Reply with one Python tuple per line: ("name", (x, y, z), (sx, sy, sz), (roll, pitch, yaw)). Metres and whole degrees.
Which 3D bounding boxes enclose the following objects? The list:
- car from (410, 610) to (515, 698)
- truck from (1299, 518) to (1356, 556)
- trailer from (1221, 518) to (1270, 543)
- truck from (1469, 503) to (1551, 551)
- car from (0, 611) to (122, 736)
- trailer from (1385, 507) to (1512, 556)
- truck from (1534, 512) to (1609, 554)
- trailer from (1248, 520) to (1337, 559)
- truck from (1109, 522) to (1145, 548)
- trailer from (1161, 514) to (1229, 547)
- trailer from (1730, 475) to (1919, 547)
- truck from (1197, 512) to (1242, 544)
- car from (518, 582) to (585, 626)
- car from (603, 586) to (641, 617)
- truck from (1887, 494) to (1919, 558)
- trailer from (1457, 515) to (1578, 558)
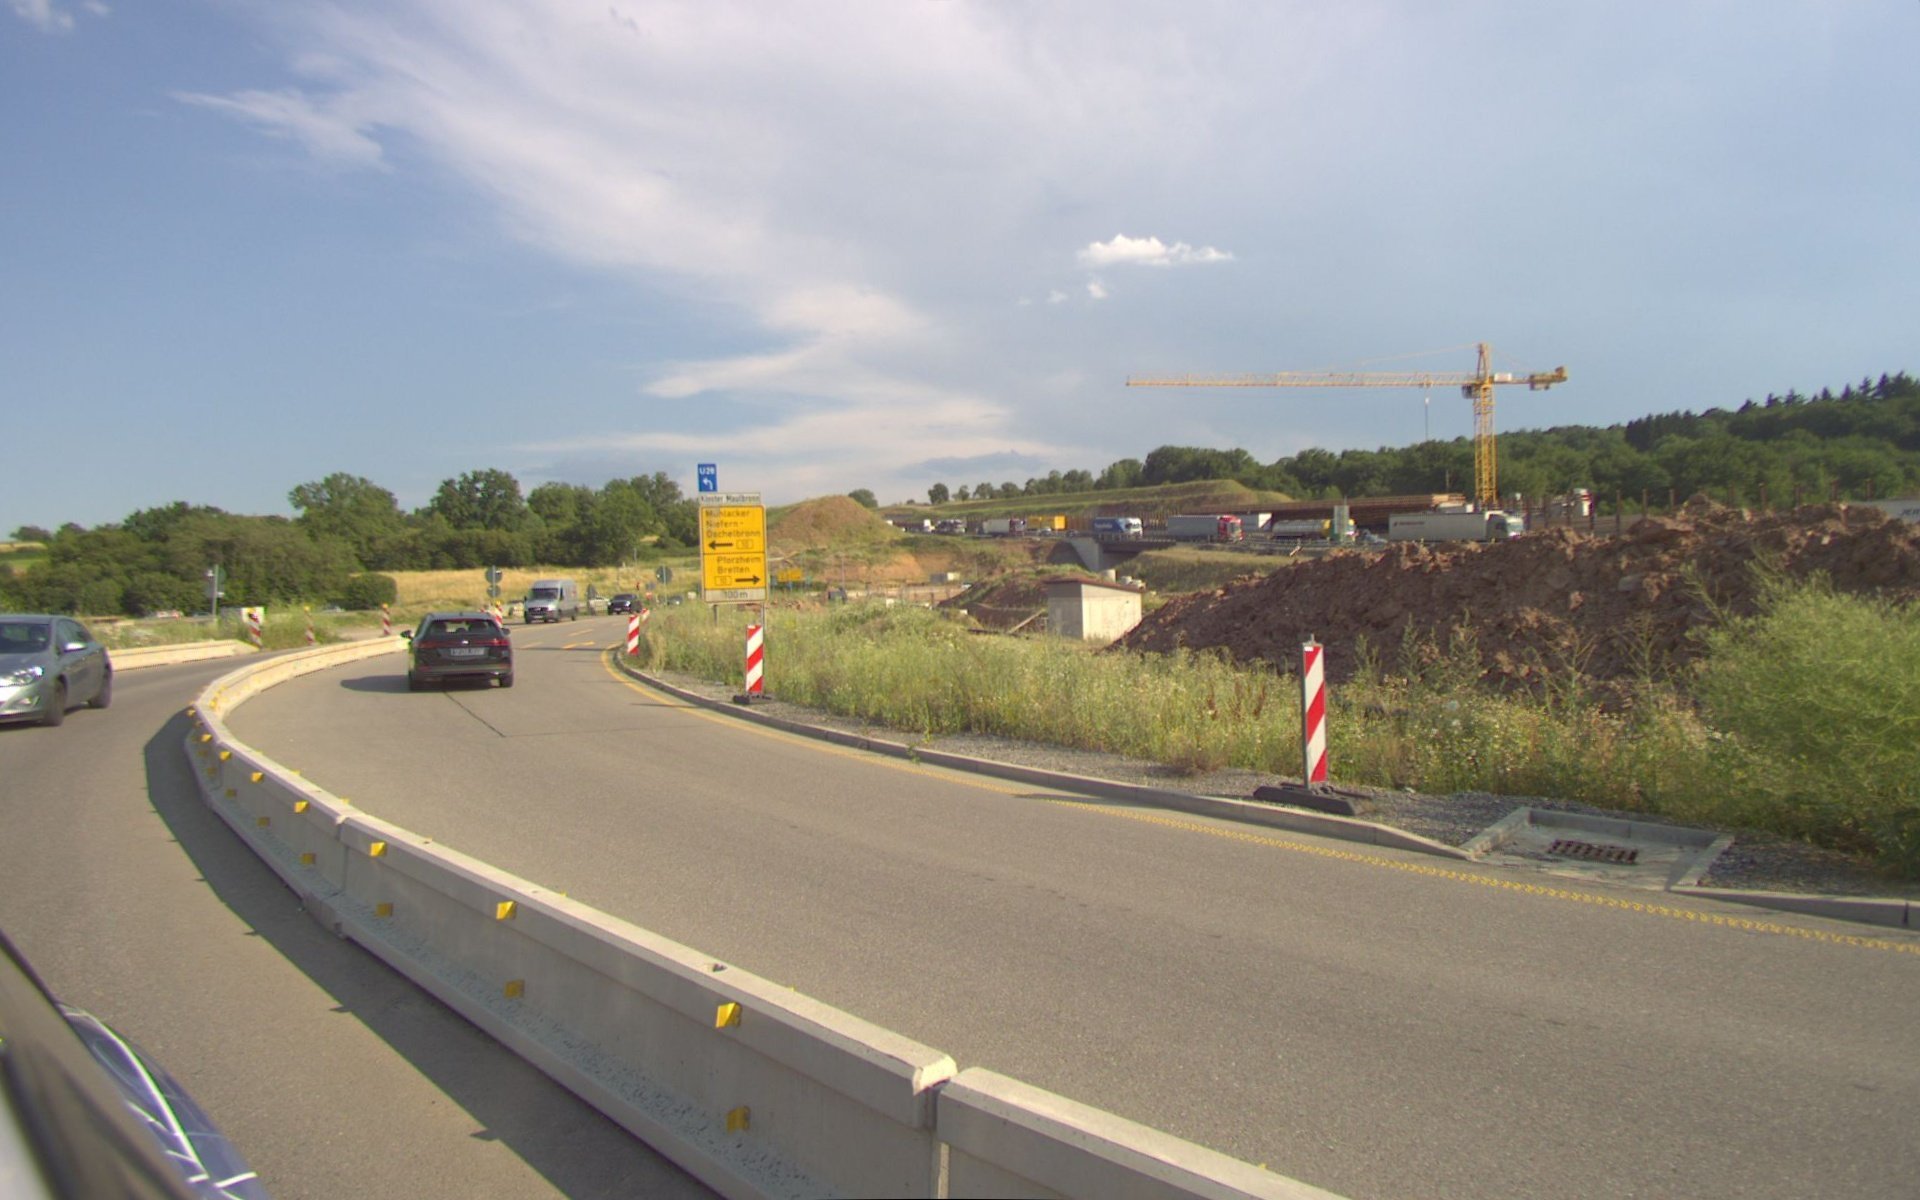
("car", (-10.023, 0.971, 20.223), (1.686, 1.530, 4.529), (0, 0, -28))
("truck", (46.862, -7.978, 129.301), (3.060, 4.346, 6.919), (-1, 0, -20))
("trailer", (49.564, -12.011, 176.285), (1.938, 3.540, 11.211), (-1, 0, -20))
("truck", (55.844, -7.368, 102.956), (3.060, 4.346, 6.919), (-1, 0, -20))
("car", (-13.103, 0.939, 13.901), (1.719, 1.495, 4.265), (-2, 0, -30))
("trailer", (53.057, -7.327, 110.708), (3.060, 4.346, 14.298), (-1, 0, -20))
("truck", (70.474, -7.697, 116.774), (3.060, 4.346, 6.918), (-1, 0, -19))
("trailer", (44.429, -7.981, 135.978), (3.060, 4.346, 14.298), (-1, 0, -20))
("truck", (29.306, -11.318, 177.817), (2.480, 4.031, 8.580), (-1, 0, -19))
("trailer", (36.651, -10.786, 158.911), (3.060, 4.346, 14.298), (-1, 0, -20))
("trailer", (66.272, -6.524, 75.703), (3.060, 4.346, 14.298), (-1, 0, -20))
("truck", (39.037, -10.839, 152.298), (3.060, 4.346, 6.919), (-1, 0, -20))
("car", (-24.673, 0.205, 61.303), (1.890, 2.520, 5.801), (-1, 0, -2))
("car", (-27.590, 0.136, 82.779), (1.849, 2.421, 4.002), (-1, 0, -2))
("truck", (68.641, -5.214, 69.273), (3.060, 4.346, 6.919), (-1, 0, -20))
("trailer", (67.936, -7.633, 123.995), (3.060, 4.346, 14.298), (-1, 0, -21))
